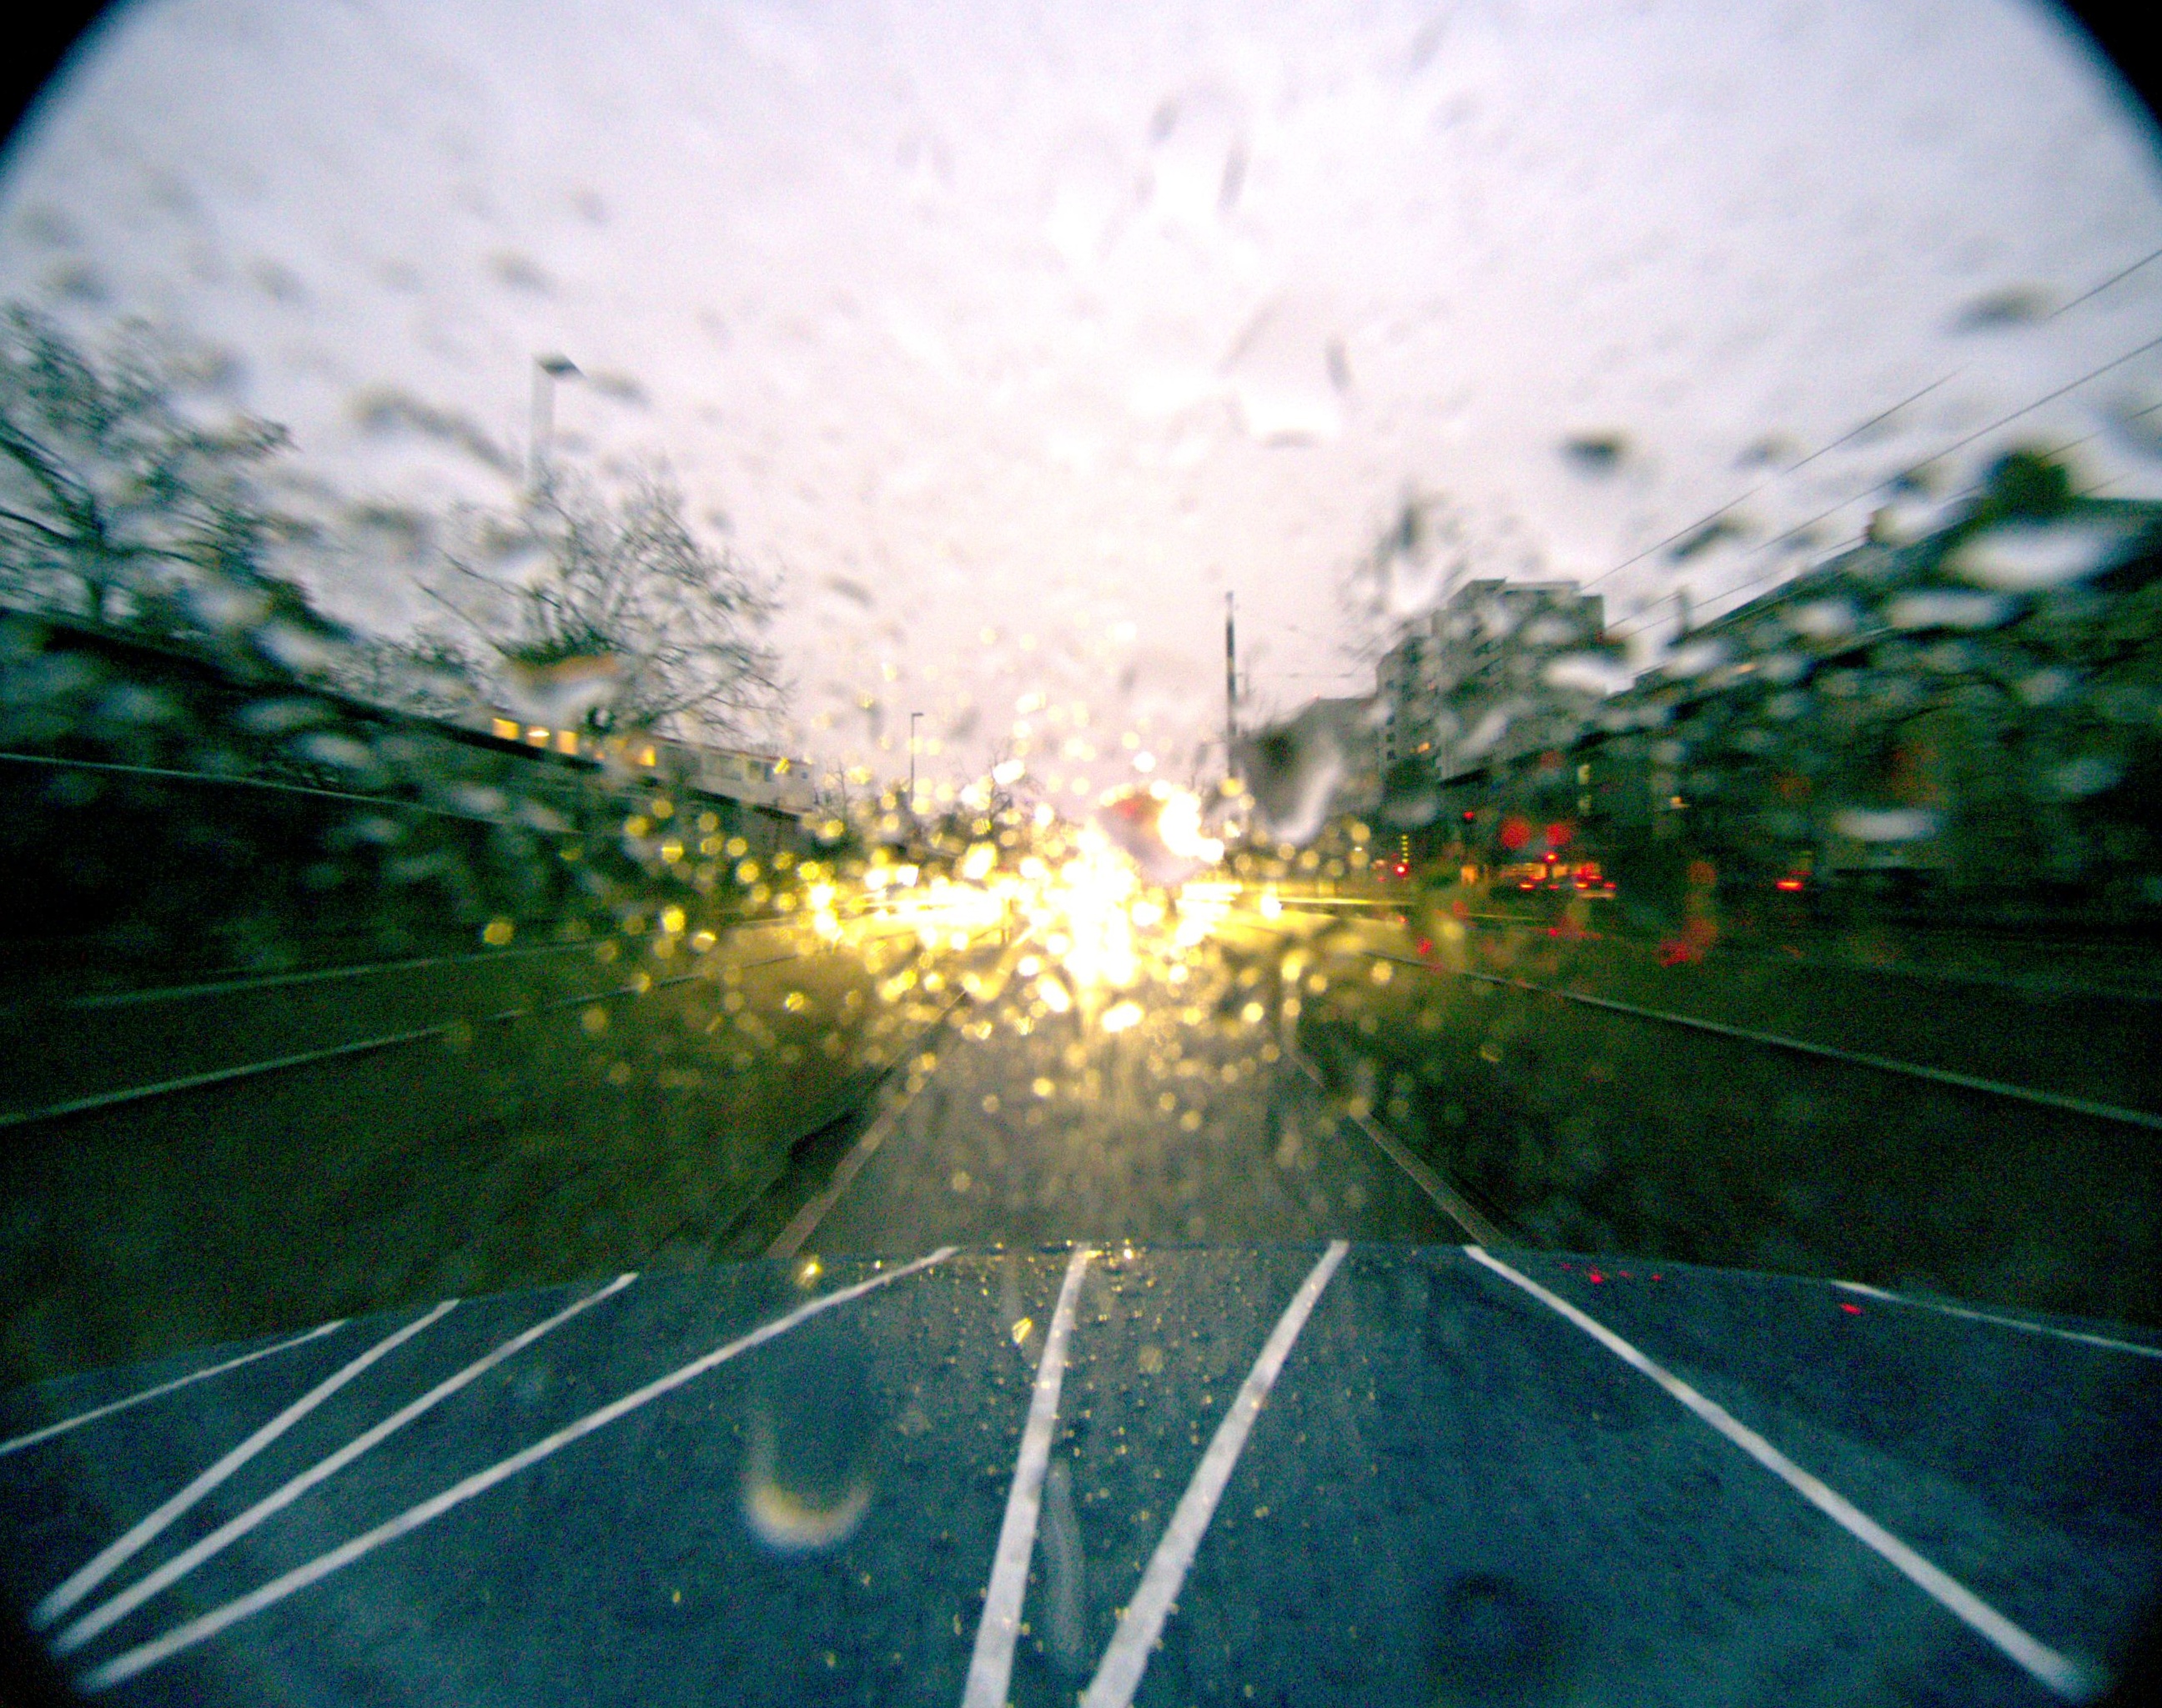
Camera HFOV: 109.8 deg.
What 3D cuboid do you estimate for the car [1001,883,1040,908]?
[{"bbox_3d":[-3.697,2.519,46.874,1.778,1.452,4.043,-1,-2,4],"label":"car"}]

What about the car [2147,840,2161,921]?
[{"bbox_3d":[26.887,0.523,15.968,1.999,1.920,4.914,0,-3,0],"label":"car"}]

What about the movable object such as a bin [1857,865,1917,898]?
[{"bbox_3d":[36.332,1.261,34.270,1.110,1.471,1.425,0,-2,0],"label":"movable object such as a bin"}]

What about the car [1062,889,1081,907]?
[{"bbox_3d":[-0.957,4.551,78.633,1.678,1.738,3.867,-1,-2,2],"label":"car"}]

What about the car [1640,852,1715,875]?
[{"bbox_3d":[42.047,0.697,53.597,3.835,1.542,1.779,-1,-2,1],"label":"car"}]

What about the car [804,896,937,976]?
[{"bbox_3d":[-4.697,1.801,17.576,1.726,1.470,4.002,-3,-2,3],"label":"car"}]

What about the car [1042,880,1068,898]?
[{"bbox_3d":[-2.220,2.989,65.621,1.880,1.489,4.079,-1,-2,2],"label":"car"}]

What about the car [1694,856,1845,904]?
[{"bbox_3d":[25.879,1.005,28.782,1.998,1.682,4.113,0,-3,1],"label":"car"}]

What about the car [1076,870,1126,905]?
[{"bbox_3d":[0.951,1.515,34.914,2.160,1.489,4.010,-1,-2,2],"label":"car"}]

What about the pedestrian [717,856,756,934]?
[{"bbox_3d":[-8.400,0.994,18.550,0.533,1.868,0.901,-1,-2,0],"label":"pedestrian"}]

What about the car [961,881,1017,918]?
[{"bbox_3d":[-4.248,2.084,35.743,1.791,1.492,4.969,-1,-1,2],"label":"car"}]

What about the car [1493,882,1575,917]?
[{"bbox_3d":[23.045,2.283,38.870,1.805,1.575,4.002,-3,-2,1],"label":"car"}]

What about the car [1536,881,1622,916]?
[{"bbox_3d":[25.538,2.248,39.176,1.805,1.575,4.002,-3,-2,1],"label":"car"}]
